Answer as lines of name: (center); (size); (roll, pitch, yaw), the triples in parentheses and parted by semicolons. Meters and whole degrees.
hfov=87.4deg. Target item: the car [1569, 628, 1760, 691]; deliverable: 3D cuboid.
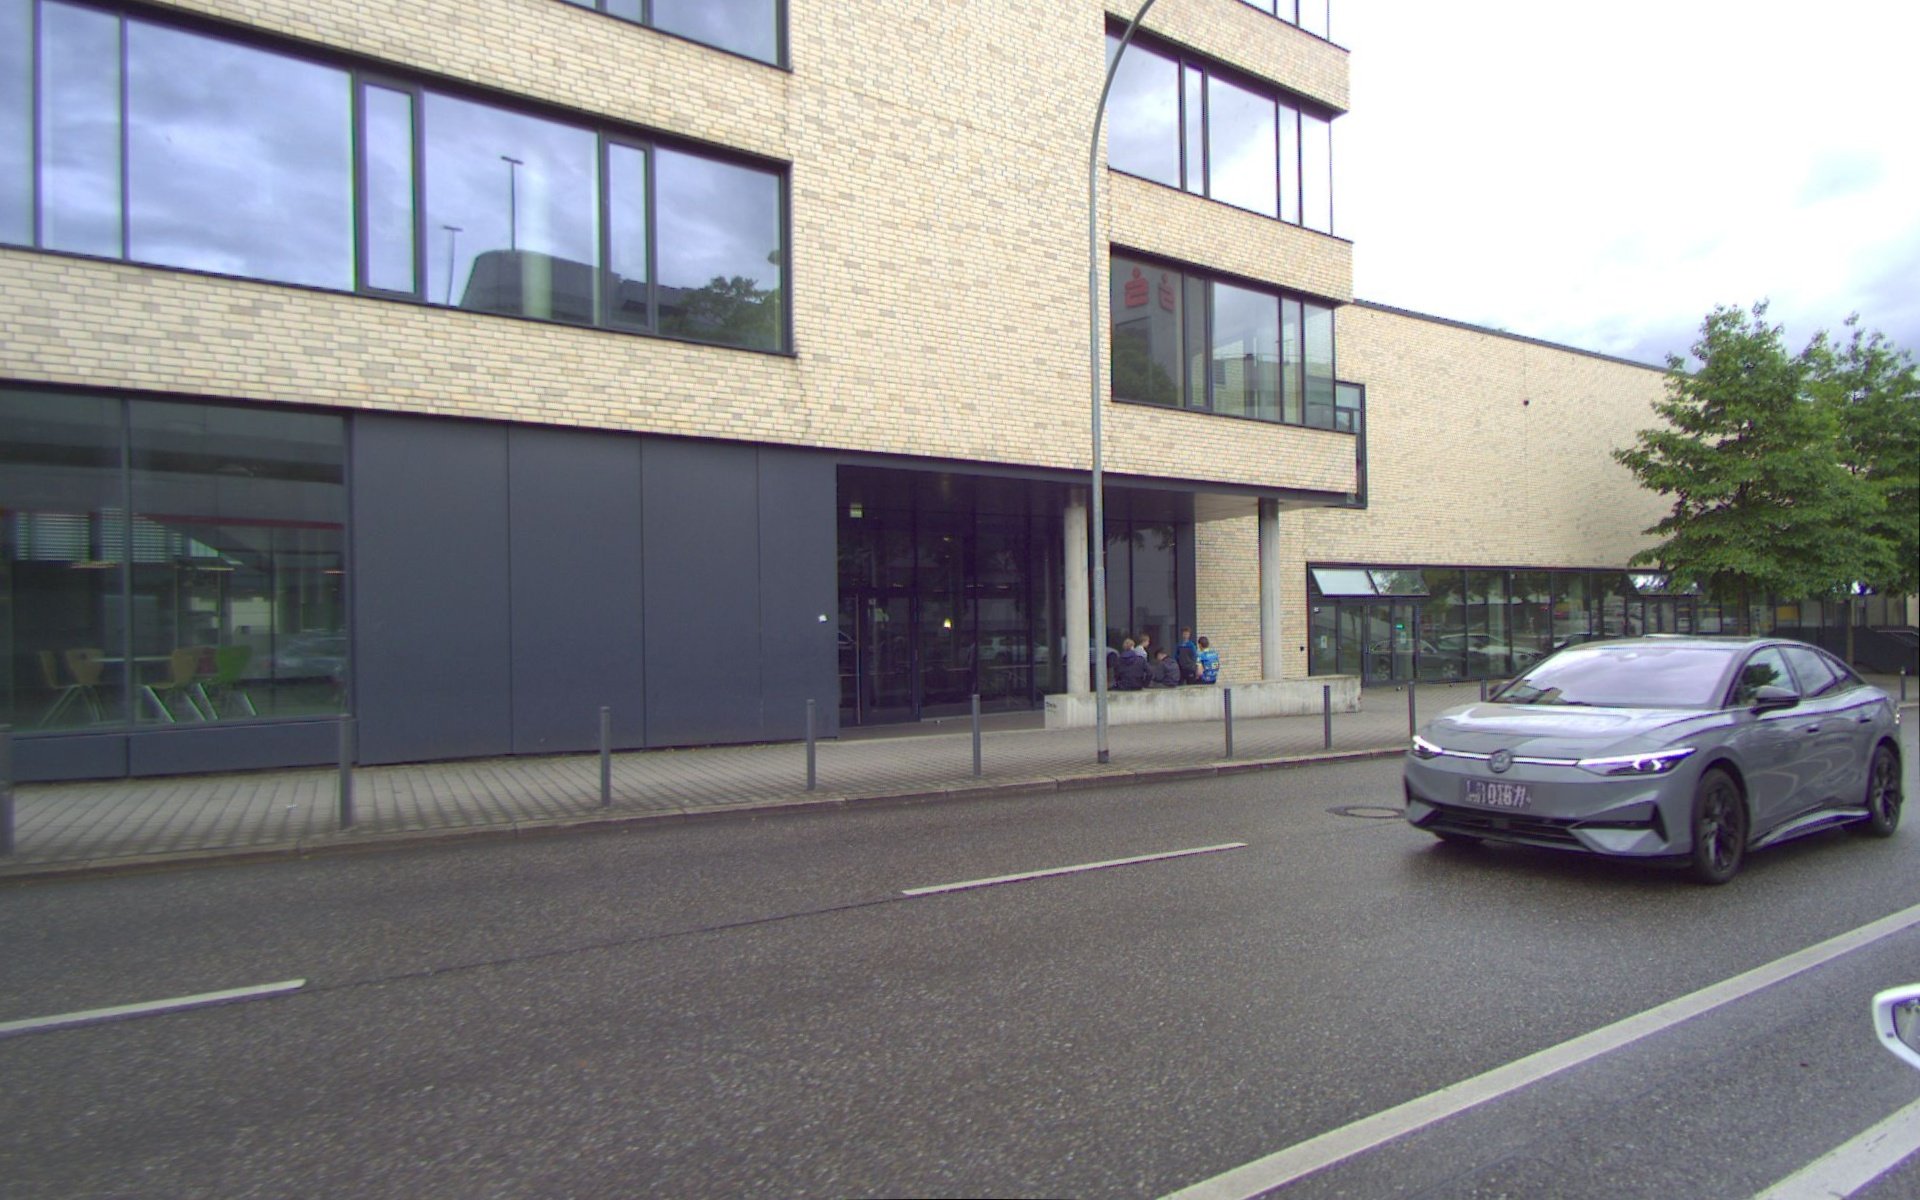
car: (20.543, 1.705, 29.468); (1.975, 1.568, 4.159); (2, 0, -28)

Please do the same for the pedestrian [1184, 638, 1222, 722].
pedestrian: (4.451, 1.453, 18.400); (0.459, 1.495, 0.446); (2, 0, -35)

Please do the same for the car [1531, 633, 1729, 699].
car: (18.549, 1.781, 27.965); (1.981, 1.514, 4.147); (2, -1, -36)

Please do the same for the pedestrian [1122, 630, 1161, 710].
pedestrian: (3.463, 1.330, 19.170); (0.523, 1.495, 0.438); (2, 0, -35)

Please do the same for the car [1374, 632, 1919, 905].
car: (5.374, 1.046, 7.641); (4.512, 1.517, 1.873); (2, -3, -33)

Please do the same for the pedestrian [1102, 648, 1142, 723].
pedestrian: (2.765, 1.447, 17.163); (0.416, 1.231, 0.546); (2, 0, -27)

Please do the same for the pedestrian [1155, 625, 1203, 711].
pedestrian: (4.605, 1.408, 21.099); (0.631, 1.737, 0.697); (2, 0, -36)

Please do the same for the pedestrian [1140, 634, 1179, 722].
pedestrian: (3.512, 1.367, 17.686); (0.459, 1.495, 0.446); (2, 0, -35)
